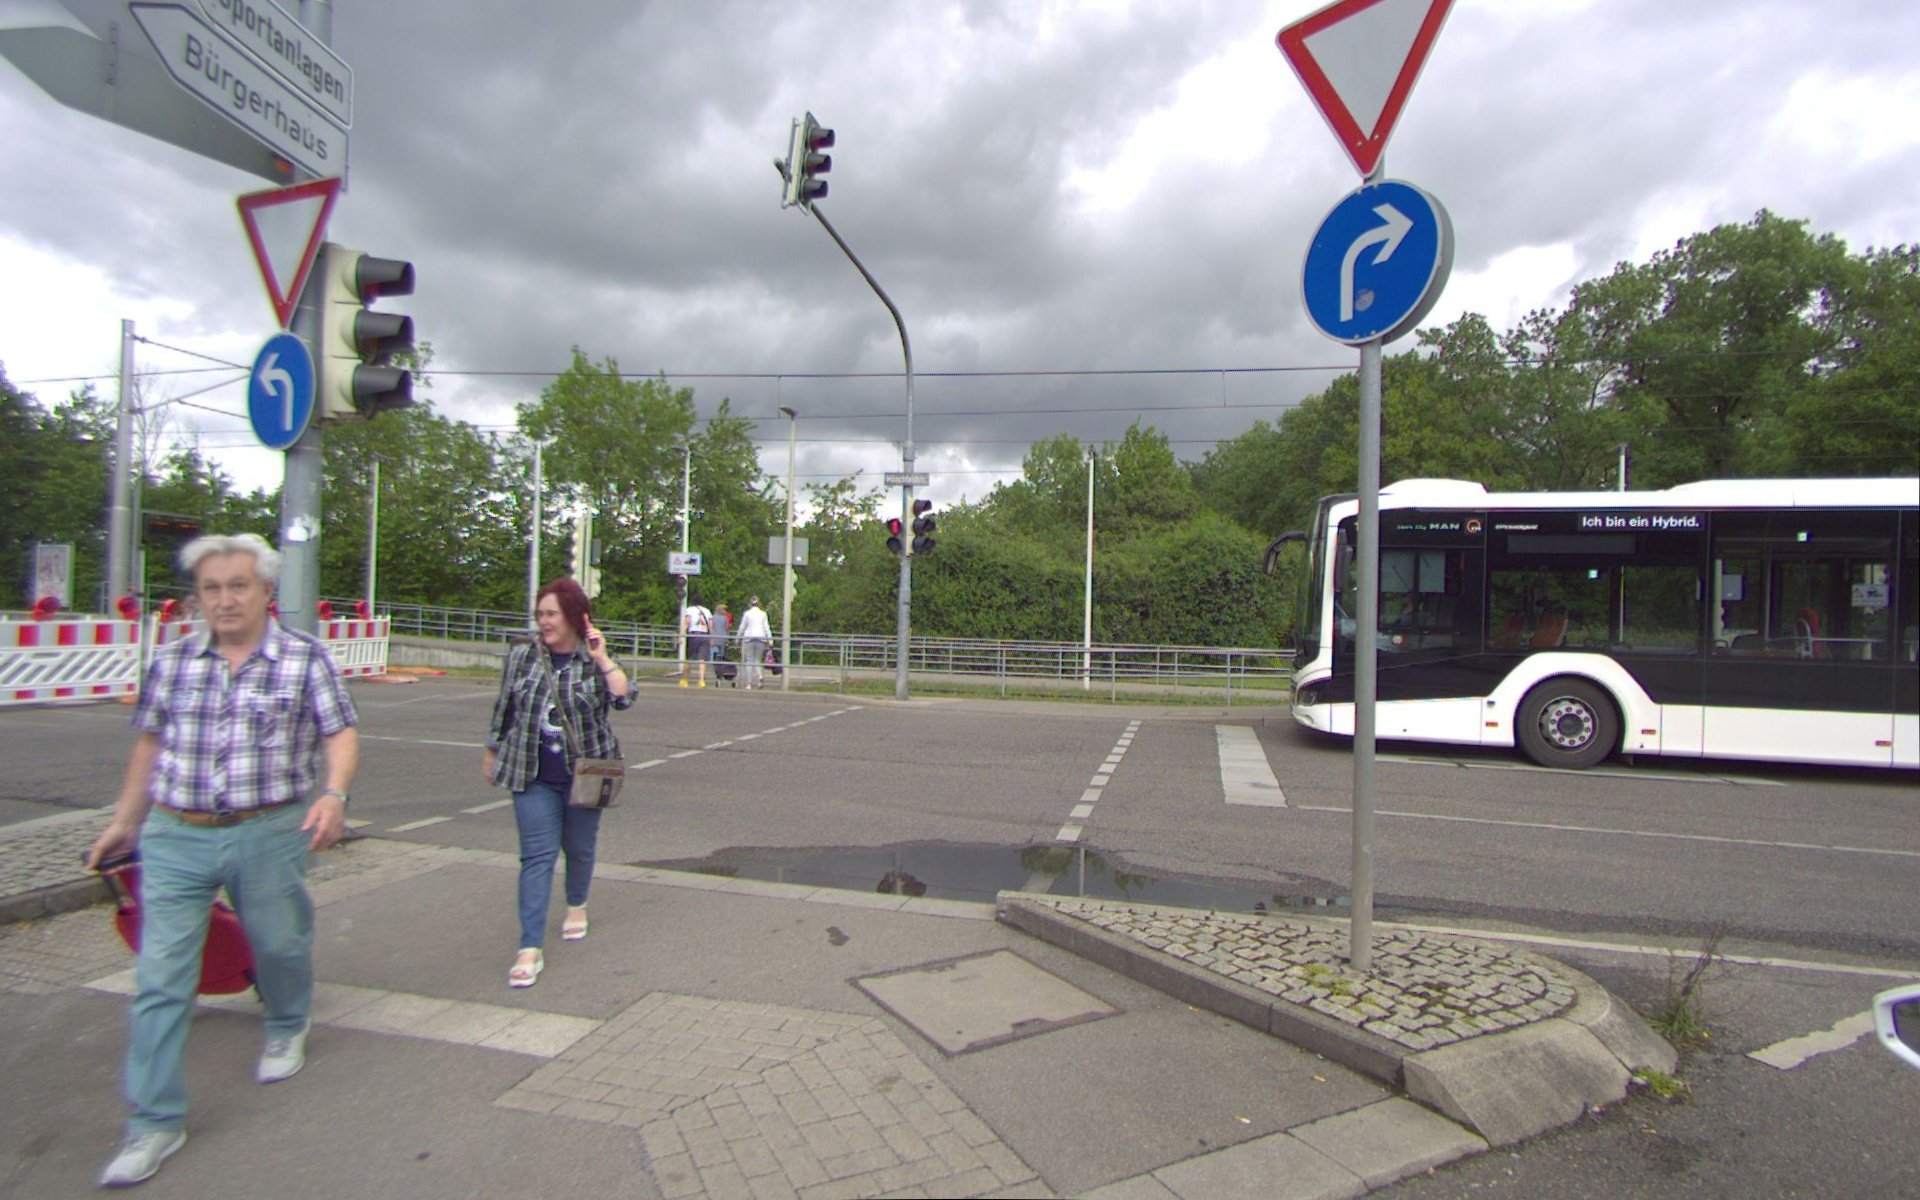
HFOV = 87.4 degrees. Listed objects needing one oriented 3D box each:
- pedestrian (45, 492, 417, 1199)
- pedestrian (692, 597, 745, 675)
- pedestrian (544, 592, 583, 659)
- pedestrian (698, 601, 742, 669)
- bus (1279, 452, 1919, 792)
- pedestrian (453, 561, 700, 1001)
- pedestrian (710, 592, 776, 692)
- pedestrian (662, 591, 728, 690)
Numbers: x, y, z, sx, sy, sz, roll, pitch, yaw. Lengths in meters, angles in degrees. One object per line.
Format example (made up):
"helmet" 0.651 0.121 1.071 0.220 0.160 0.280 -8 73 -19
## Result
"pedestrian" -1.963 0.584 2.772 0.692 1.655 0.715 2 1 -35
"pedestrian" -5.704 0.847 23.735 0.938 1.771 0.723 2 -1 10
"pedestrian" -10.674 0.677 27.036 0.715 1.771 0.948 2 -1 -35
"pedestrian" -5.970 0.869 25.017 0.708 1.643 0.806 2 -1 15
"bus" 9.789 0.250 10.807 11.954 3.245 2.676 1 -1 16
"pedestrian" -1.581 0.661 4.130 0.687 1.587 0.723 3 -1 -42
"pedestrian" -3.971 0.761 18.430 0.708 1.771 0.957 2 -1 21
"pedestrian" -4.897 0.740 18.612 0.708 1.771 0.957 2 -1 21
